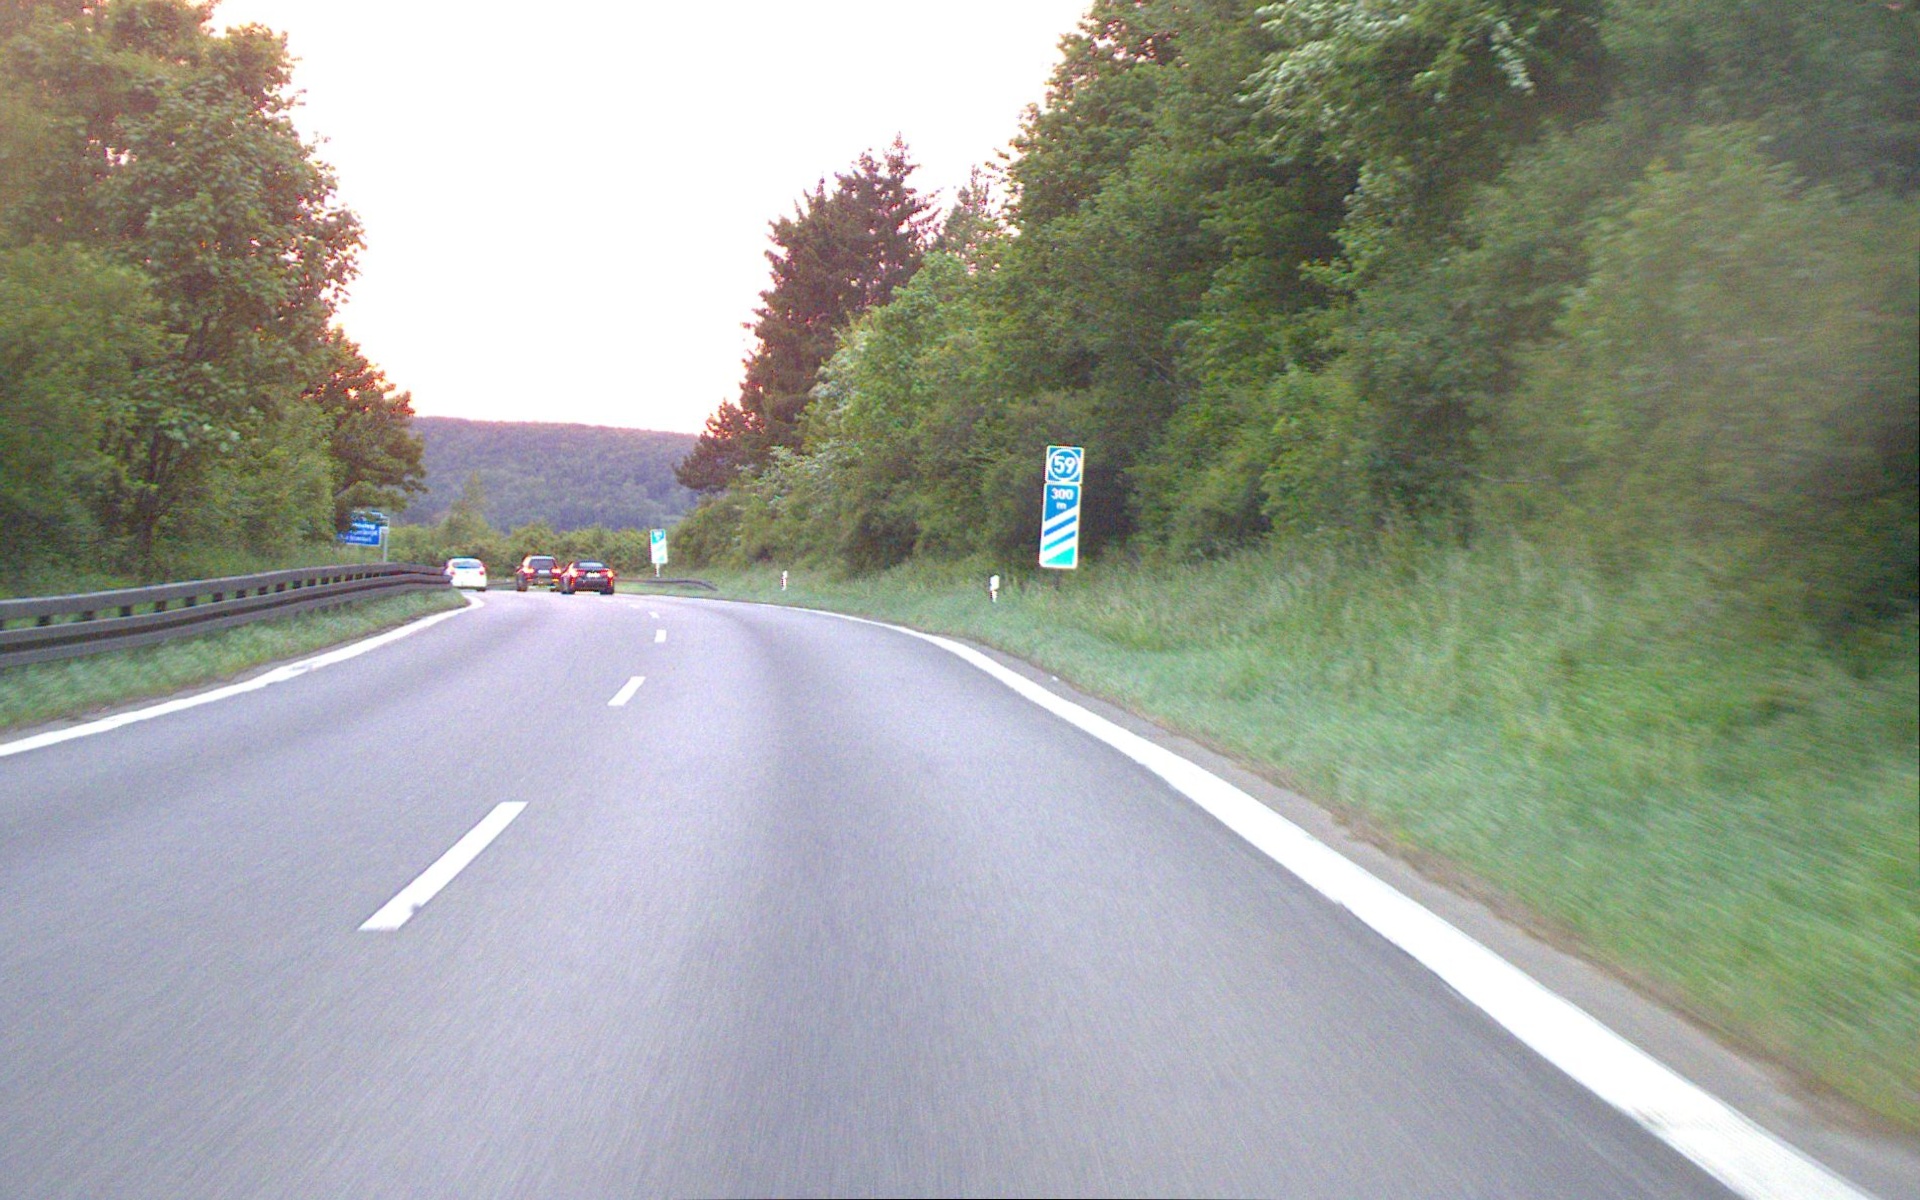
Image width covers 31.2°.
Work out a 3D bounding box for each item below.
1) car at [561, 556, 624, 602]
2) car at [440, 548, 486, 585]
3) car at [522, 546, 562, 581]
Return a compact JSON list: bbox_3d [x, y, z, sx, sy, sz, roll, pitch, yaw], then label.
[{"bbox_3d":[-15.103,-0.855,141.140,1.993,1.640,4.001,4,-2,-13],"label":"car"},{"bbox_3d":[-22.296,-1.486,154.296,1.718,1.496,4.000,2,-1,-5],"label":"car"},{"bbox_3d":[-19.643,-1.726,161.695,1.718,1.629,4.001,0,0,-5],"label":"car"}]
